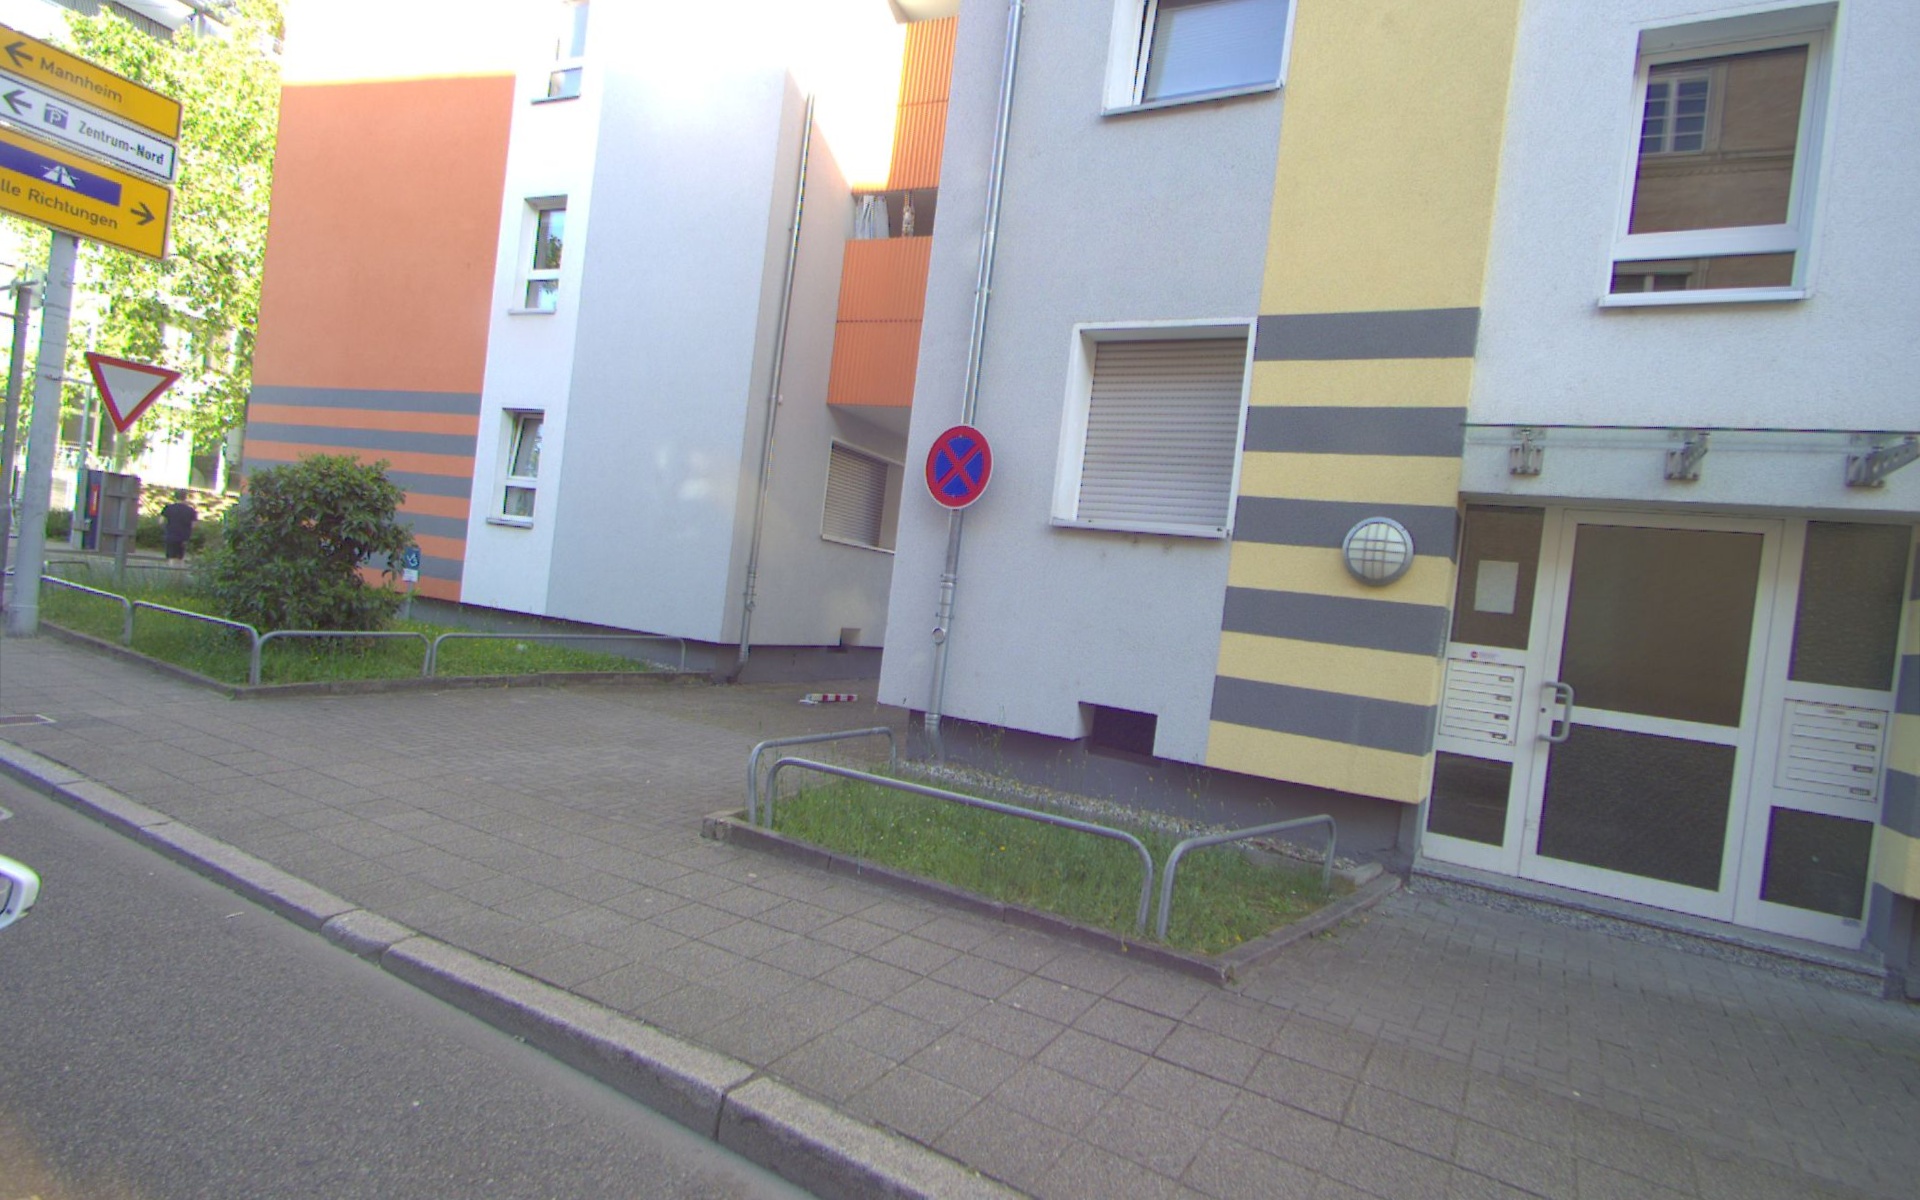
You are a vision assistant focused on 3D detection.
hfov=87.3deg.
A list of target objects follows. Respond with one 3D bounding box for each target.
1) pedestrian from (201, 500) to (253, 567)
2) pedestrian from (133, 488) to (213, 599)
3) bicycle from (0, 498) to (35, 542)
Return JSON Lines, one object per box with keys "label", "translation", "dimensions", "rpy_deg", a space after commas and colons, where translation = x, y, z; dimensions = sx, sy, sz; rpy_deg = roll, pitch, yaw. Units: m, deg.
{"label": "pedestrian", "translation": [-22.363, -2.015, 30.702], "dimensions": [0.696, 1.861, 0.837], "rpy_deg": [8, -1, 22]}
{"label": "pedestrian", "translation": [-14.308, -1.029, 18.289], "dimensions": [0.823, 1.861, 0.708], "rpy_deg": [8, -1, 32]}
{"label": "bicycle", "translation": [-26.305, -2.239, 27.362], "dimensions": [1.658, 1.063, 0.508], "rpy_deg": [9, 2, -3]}
